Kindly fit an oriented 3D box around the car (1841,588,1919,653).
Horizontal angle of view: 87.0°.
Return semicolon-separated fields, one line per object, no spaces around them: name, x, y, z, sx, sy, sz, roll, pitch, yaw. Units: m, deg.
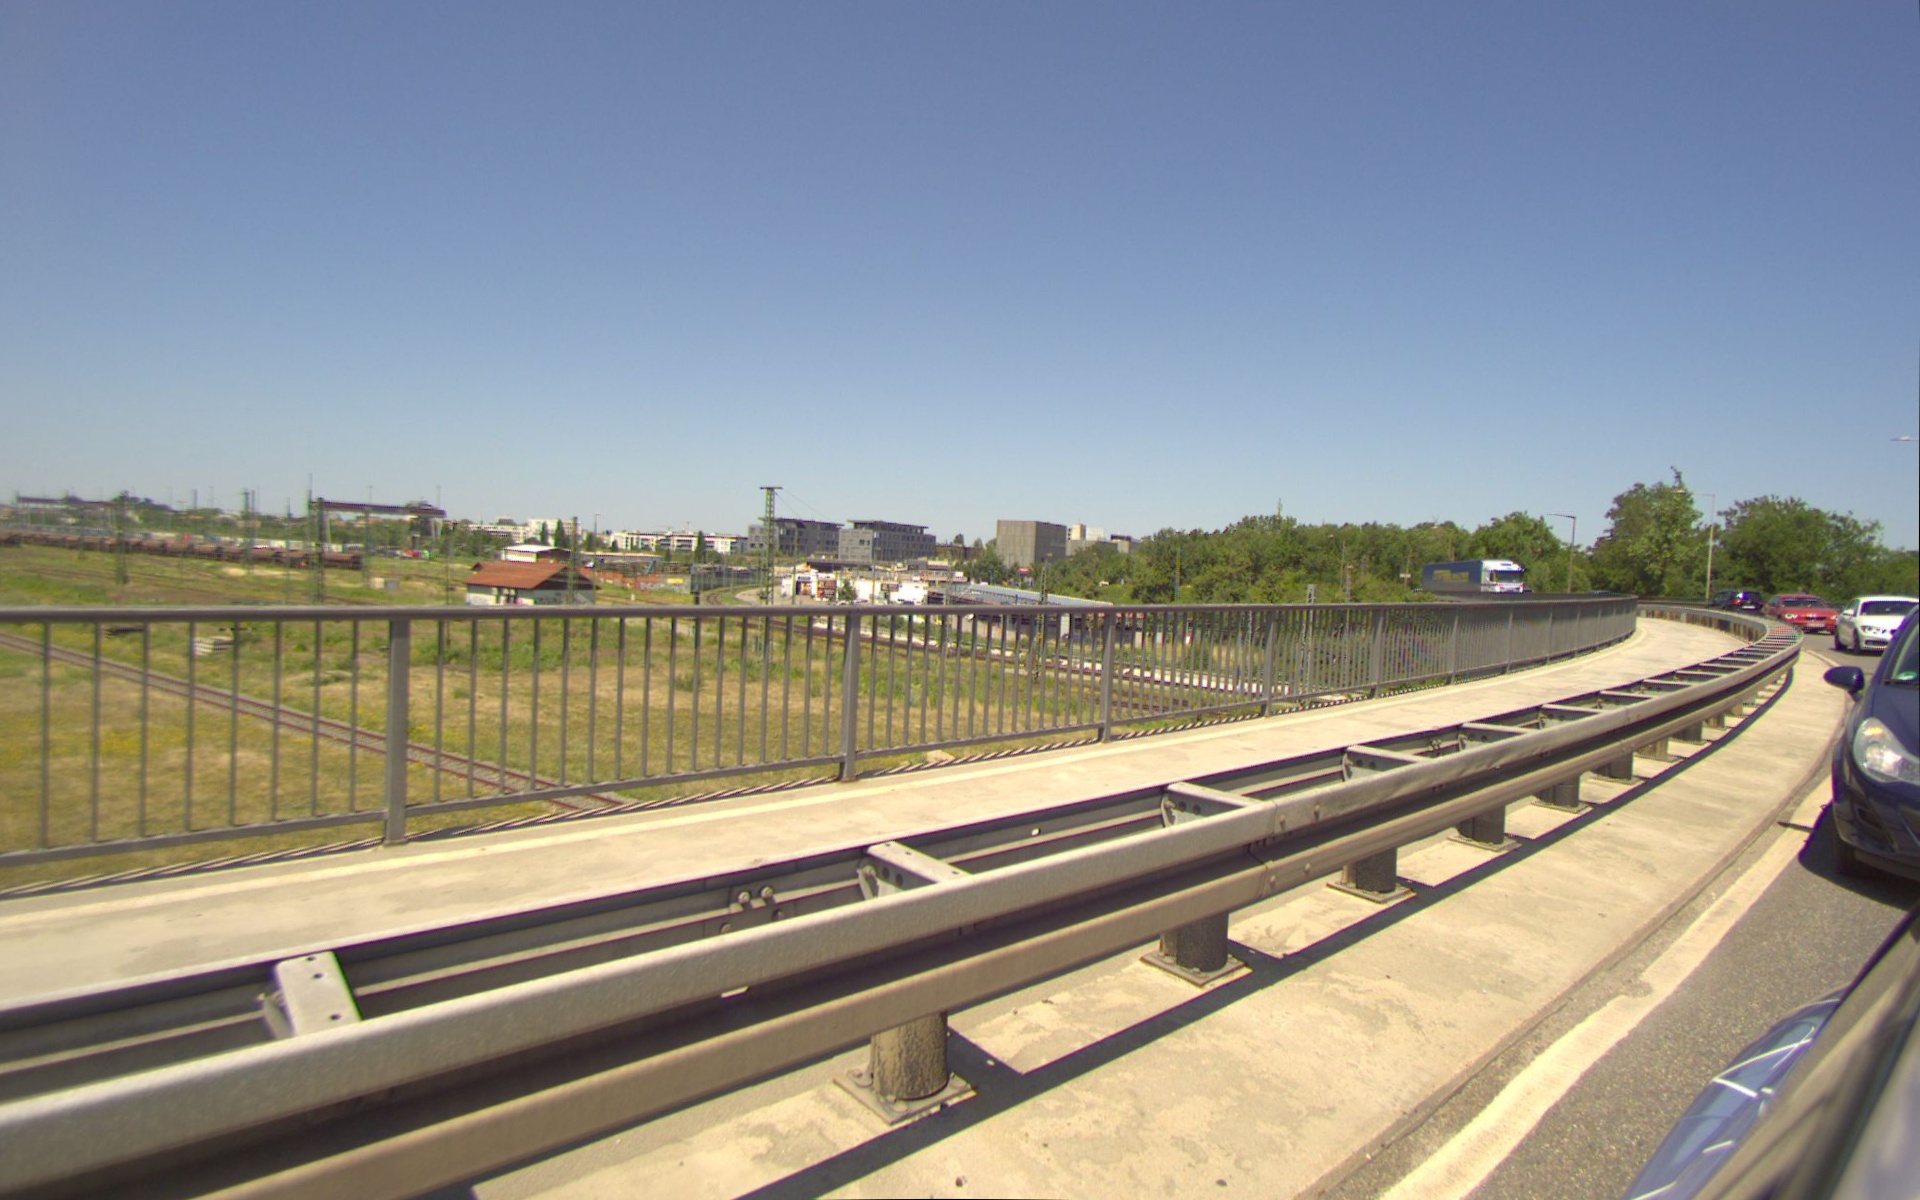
car;23.418;0.458;25.257;1.785;1.473;4.463;1;1;37

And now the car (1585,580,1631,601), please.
car;50.091;-0.761;78.268;1.755;1.526;4.175;2;2;15

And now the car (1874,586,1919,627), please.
car;35.717;0.215;37.582;1.764;1.456;4.343;2;2;31

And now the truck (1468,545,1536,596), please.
truck;48.361;-2.607;90.559;2.647;4.281;6.835;-1;1;3

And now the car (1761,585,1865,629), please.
car;31.265;0.207;37.245;1.777;1.473;4.484;1;2;25

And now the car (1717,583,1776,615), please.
car;43.708;-0.096;56.320;1.761;1.646;4.214;2;2;27

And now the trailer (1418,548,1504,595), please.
trailer;48.739;-2.779;98.978;2.653;4.287;12.706;0;1;3

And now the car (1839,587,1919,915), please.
car;6.043;0.664;5.492;3.935;1.457;1.641;-1;1;-45
